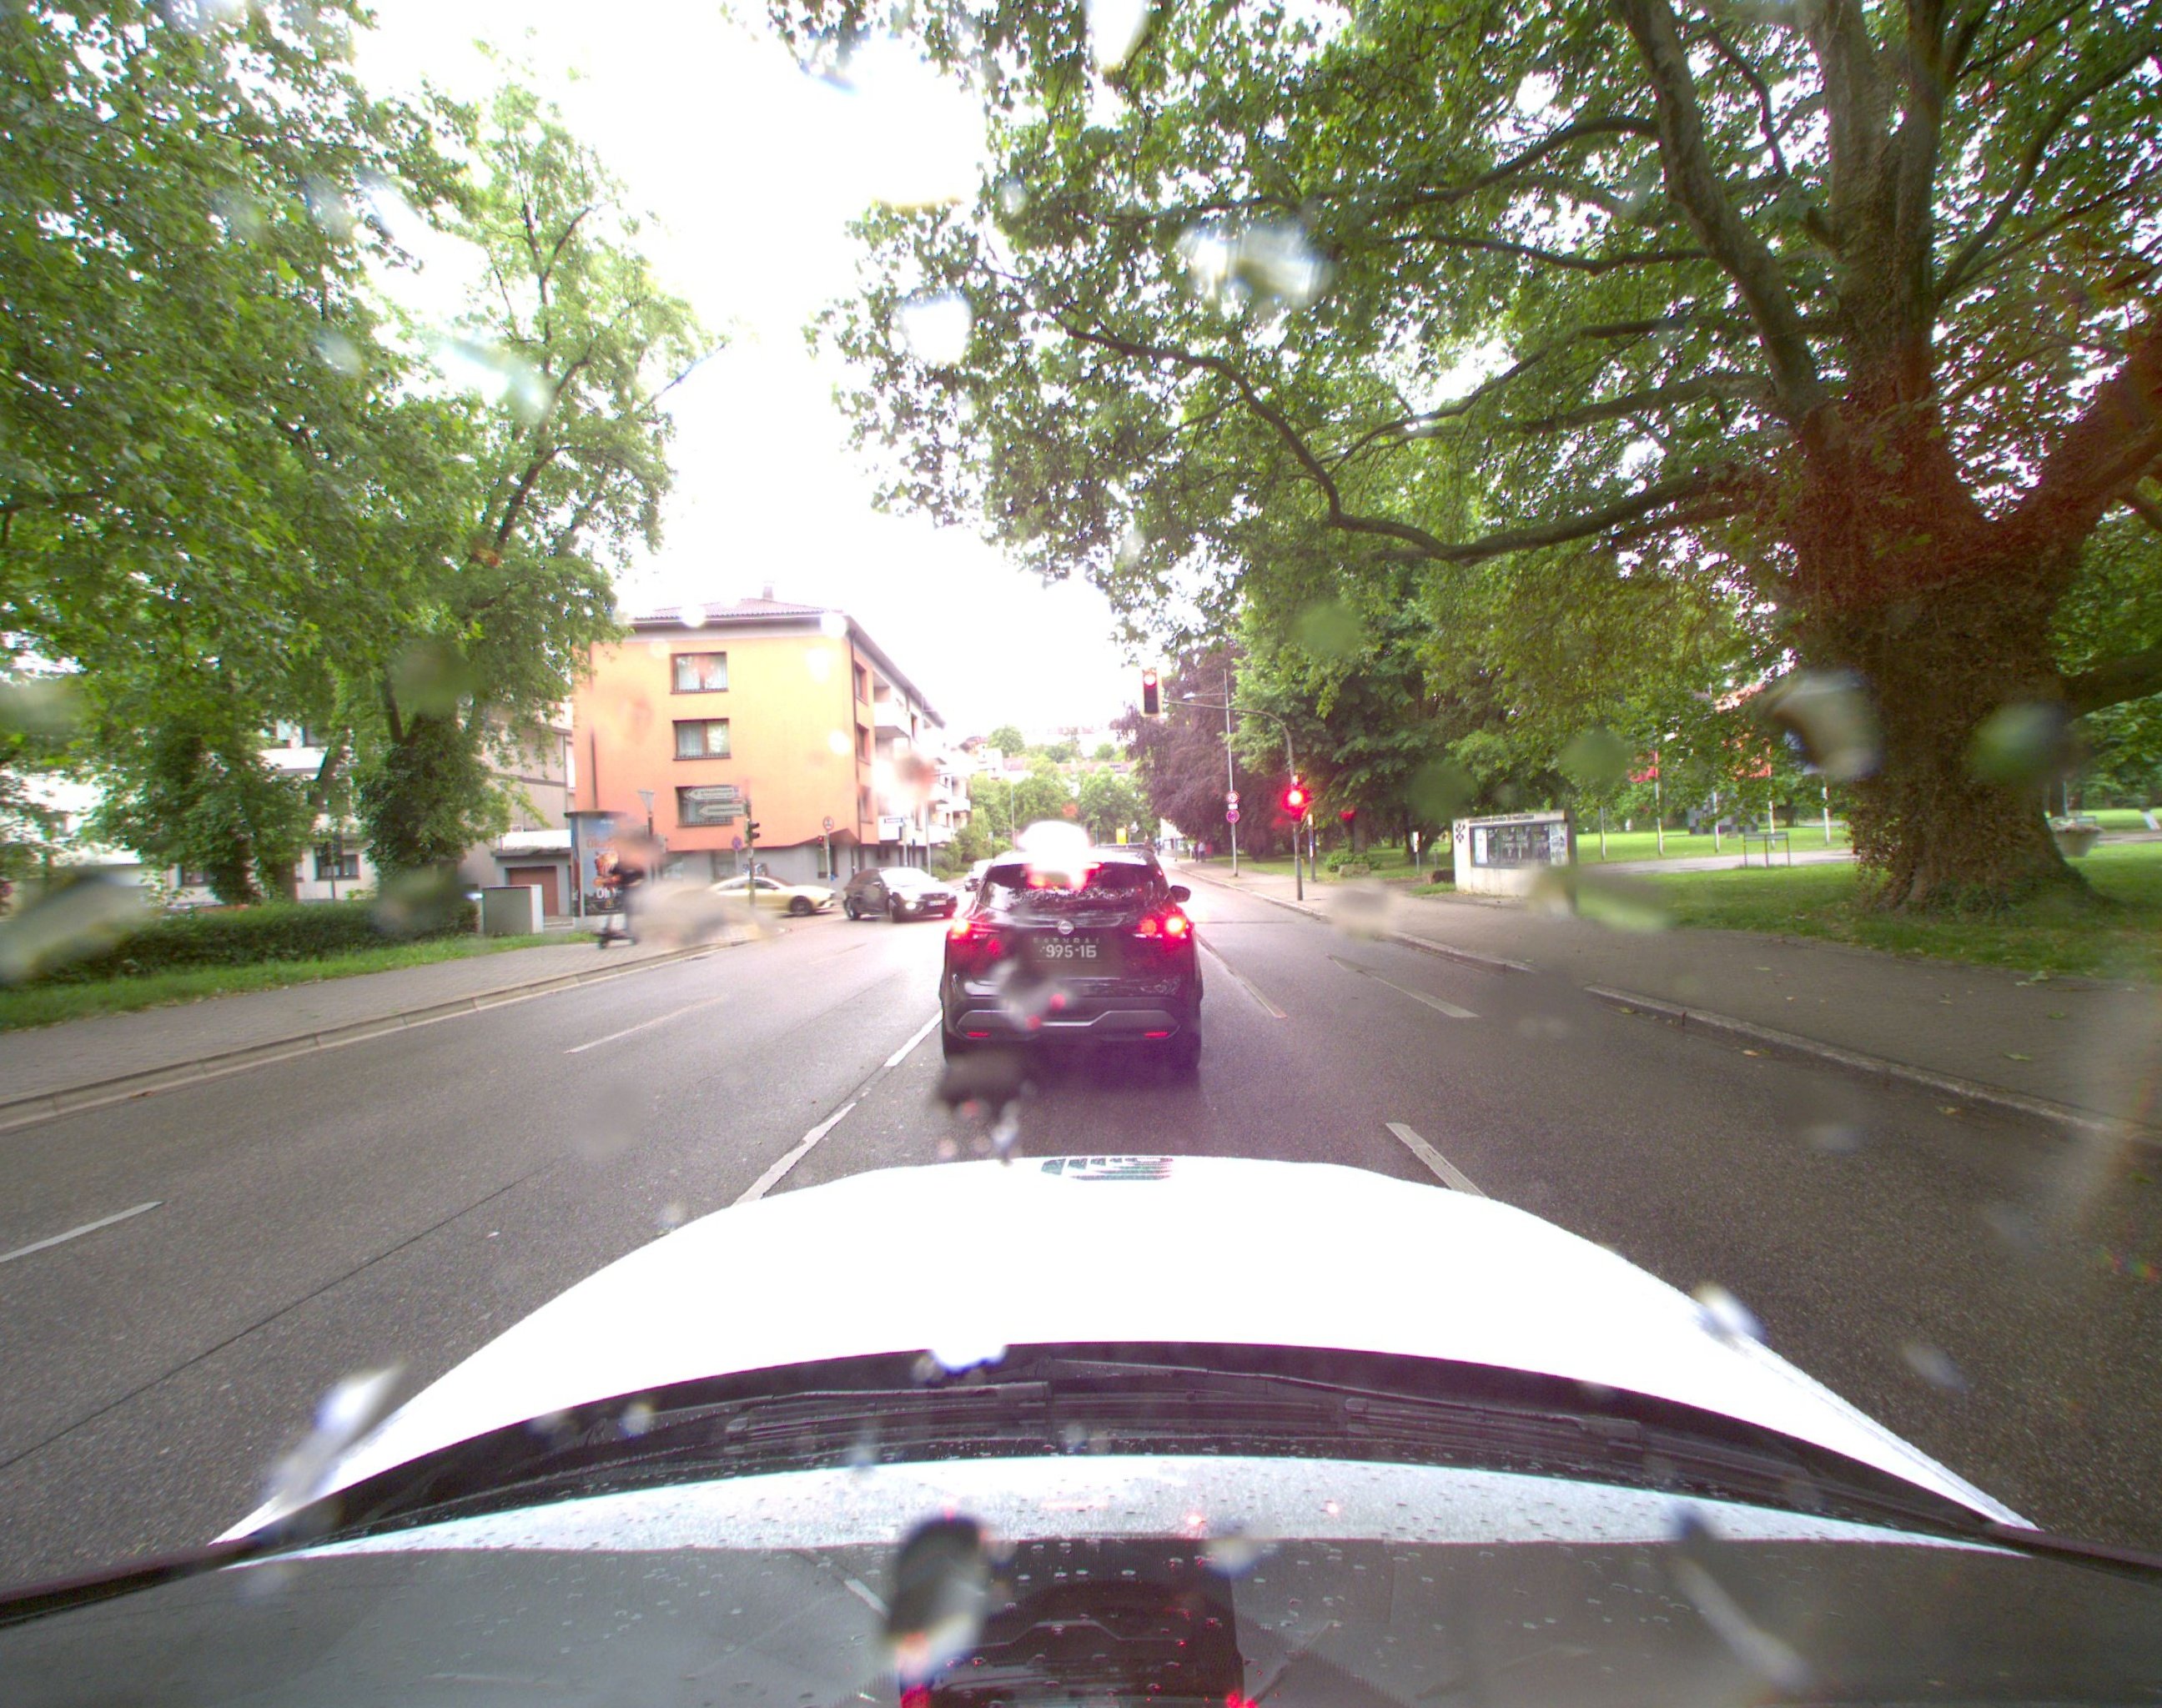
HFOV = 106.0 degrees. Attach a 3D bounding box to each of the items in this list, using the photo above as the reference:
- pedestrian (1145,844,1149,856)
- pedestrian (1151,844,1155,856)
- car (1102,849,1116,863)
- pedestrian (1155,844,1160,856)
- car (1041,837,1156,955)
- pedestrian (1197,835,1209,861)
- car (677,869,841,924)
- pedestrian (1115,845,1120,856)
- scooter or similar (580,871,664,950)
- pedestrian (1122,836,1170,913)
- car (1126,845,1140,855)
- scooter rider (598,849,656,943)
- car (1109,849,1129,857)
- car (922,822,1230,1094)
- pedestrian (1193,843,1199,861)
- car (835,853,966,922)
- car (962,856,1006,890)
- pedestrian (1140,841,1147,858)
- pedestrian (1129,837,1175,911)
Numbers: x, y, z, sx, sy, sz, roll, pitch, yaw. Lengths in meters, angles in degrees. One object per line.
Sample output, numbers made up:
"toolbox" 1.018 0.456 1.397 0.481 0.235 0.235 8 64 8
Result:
"pedestrian" 10.150 -0.613 124.655 0.506 1.802 0.620 -3 0 1
"pedestrian" 10.945 -0.638 123.940 0.506 1.802 0.659 -3 0 2
"car" 3.414 0.250 98.769 1.628 1.532 3.969 -3 0 2
"pedestrian" 11.655 -0.590 124.000 0.507 1.802 0.619 -3 0 0
"car" 0.334 0.654 14.533 1.692 1.745 3.642 -3 0 2
"pedestrian" 9.621 -0.466 64.213 0.722 2.013 0.852 -3 0 2
"car" -10.517 1.360 26.903 4.632 1.403 1.827 -4 0 -8
"pedestrian" 6.070 -0.603 135.343 0.503 1.673 0.663 -3 0 29
"scooter or similar" -8.942 1.070 15.915 0.811 1.446 1.399 -1 -1 1
"pedestrian" 1.632 0.499 20.505 1.035 1.876 0.656 -1 0 -9
"car" 8.603 -0.656 134.690 1.983 1.735 4.007 0 0 7
"scooter rider" -8.908 0.813 16.003 0.730 1.766 0.646 -2 -1 2
"car" 8.099 -0.170 174.119 3.967 1.532 1.629 -3 0 -19
"car" 0.037 0.649 7.121 1.906 1.680 4.002 -1 0 2
"pedestrian" 9.696 -0.200 68.706 0.388 1.502 0.559 -3 0 2
"car" -5.045 0.900 22.404 1.861 1.625 4.090 -3 0 -38
"car" -4.868 0.913 41.221 1.791 1.533 3.865 -3 0 -2
"pedestrian" 6.711 -0.434 87.624 0.510 1.802 0.615 -3 0 -19
"pedestrian" 1.836 0.501 21.252 1.035 1.876 0.656 -1 0 -9
